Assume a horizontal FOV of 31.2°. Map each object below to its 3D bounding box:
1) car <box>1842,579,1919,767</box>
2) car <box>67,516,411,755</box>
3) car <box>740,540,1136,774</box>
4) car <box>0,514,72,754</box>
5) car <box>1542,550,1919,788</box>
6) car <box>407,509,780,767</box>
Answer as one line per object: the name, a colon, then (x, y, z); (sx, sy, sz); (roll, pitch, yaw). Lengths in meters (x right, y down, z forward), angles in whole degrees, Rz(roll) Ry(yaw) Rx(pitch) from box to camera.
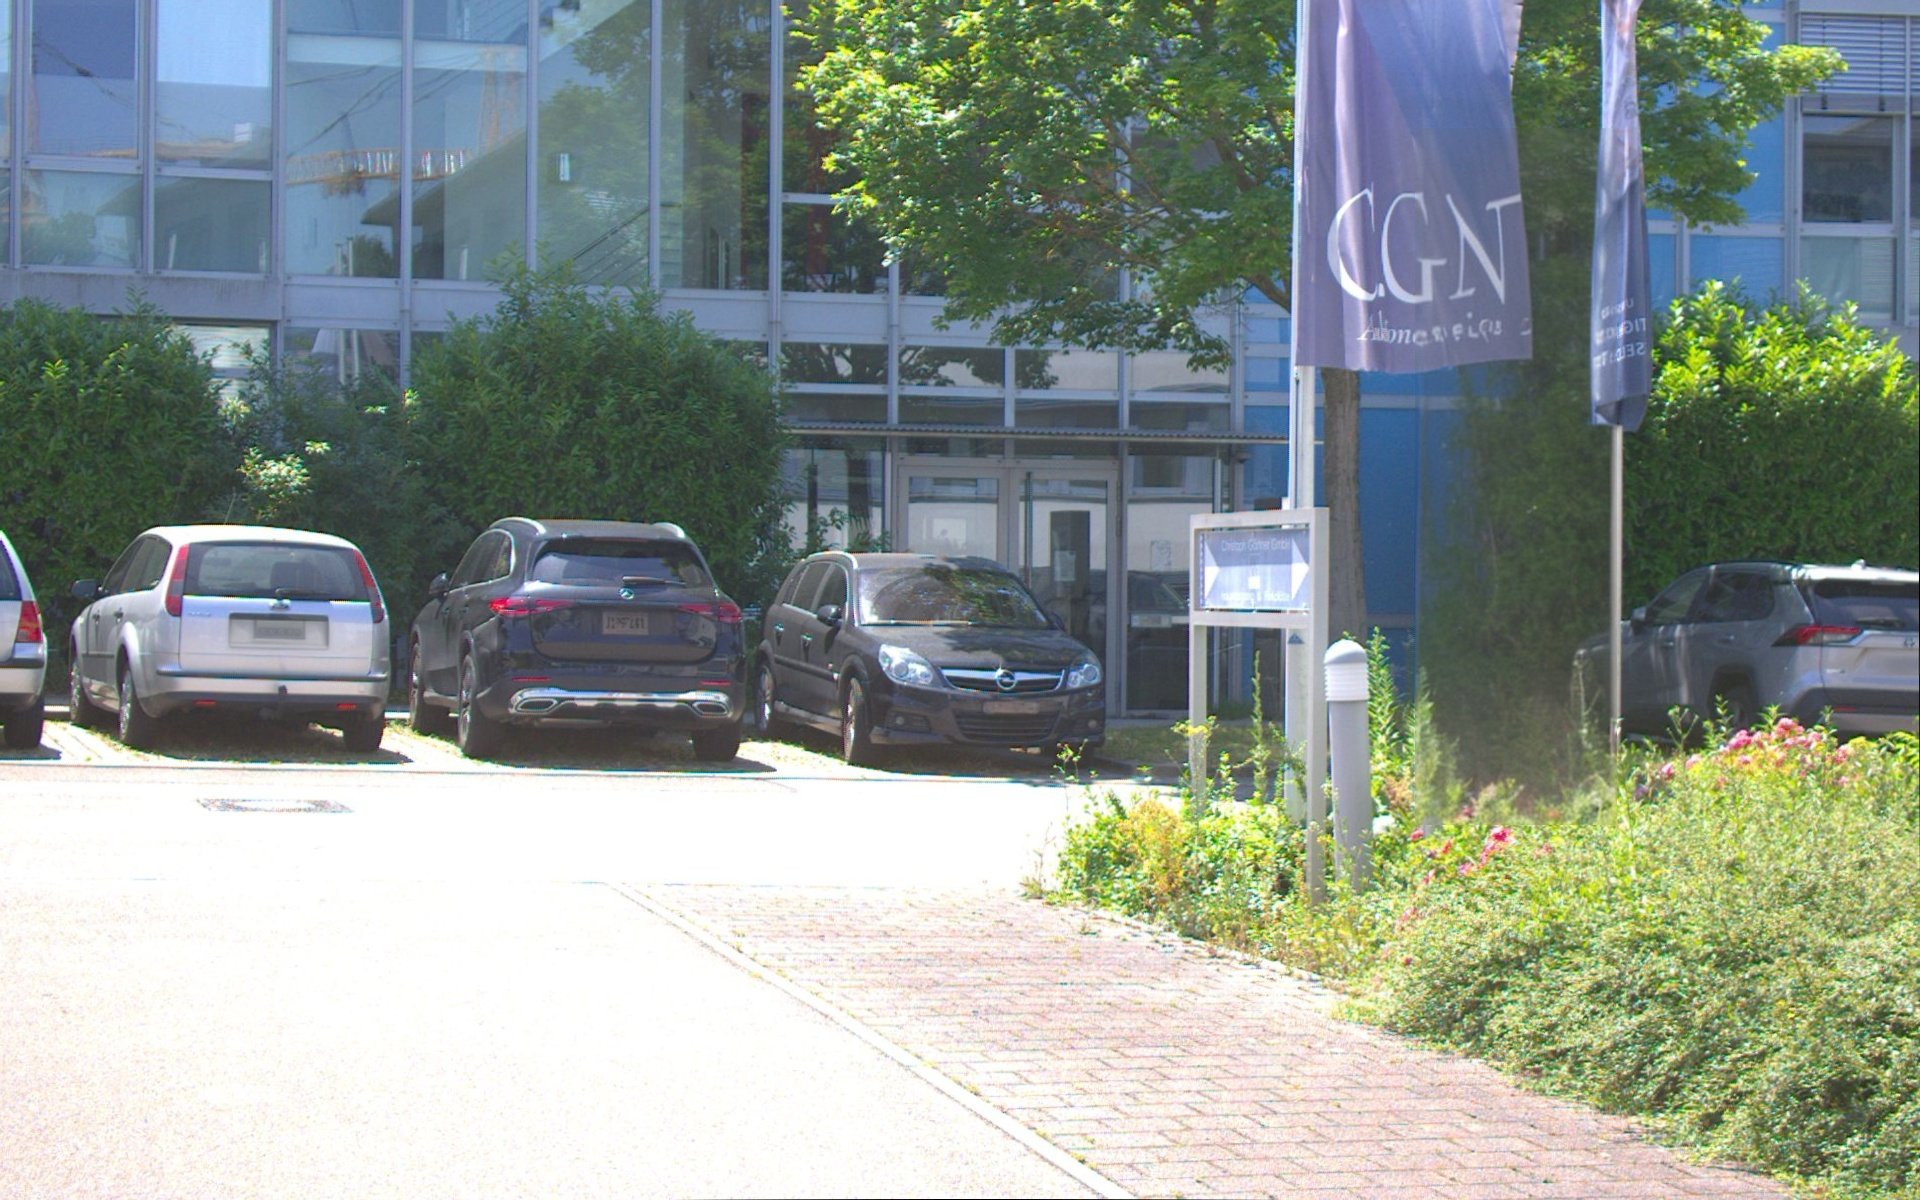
car: (8.893, 0.674, 27.086); (1.735, 1.486, 4.341); (2, 1, -16)
car: (-5.105, 0.200, 24.004); (1.764, 1.444, 3.655); (2, 1, -20)
car: (-0.266, 0.353, 25.120); (1.769, 1.477, 4.260); (1, 2, -16)
car: (-7.010, 0.143, 22.844); (1.731, 1.444, 3.655); (2, 1, -20)
car: (6.357, 0.477, 26.879); (1.819, 1.614, 4.341); (1, 2, -16)
car: (-2.710, 0.212, 24.576); (1.926, 1.605, 3.988); (2, 1, -16)
